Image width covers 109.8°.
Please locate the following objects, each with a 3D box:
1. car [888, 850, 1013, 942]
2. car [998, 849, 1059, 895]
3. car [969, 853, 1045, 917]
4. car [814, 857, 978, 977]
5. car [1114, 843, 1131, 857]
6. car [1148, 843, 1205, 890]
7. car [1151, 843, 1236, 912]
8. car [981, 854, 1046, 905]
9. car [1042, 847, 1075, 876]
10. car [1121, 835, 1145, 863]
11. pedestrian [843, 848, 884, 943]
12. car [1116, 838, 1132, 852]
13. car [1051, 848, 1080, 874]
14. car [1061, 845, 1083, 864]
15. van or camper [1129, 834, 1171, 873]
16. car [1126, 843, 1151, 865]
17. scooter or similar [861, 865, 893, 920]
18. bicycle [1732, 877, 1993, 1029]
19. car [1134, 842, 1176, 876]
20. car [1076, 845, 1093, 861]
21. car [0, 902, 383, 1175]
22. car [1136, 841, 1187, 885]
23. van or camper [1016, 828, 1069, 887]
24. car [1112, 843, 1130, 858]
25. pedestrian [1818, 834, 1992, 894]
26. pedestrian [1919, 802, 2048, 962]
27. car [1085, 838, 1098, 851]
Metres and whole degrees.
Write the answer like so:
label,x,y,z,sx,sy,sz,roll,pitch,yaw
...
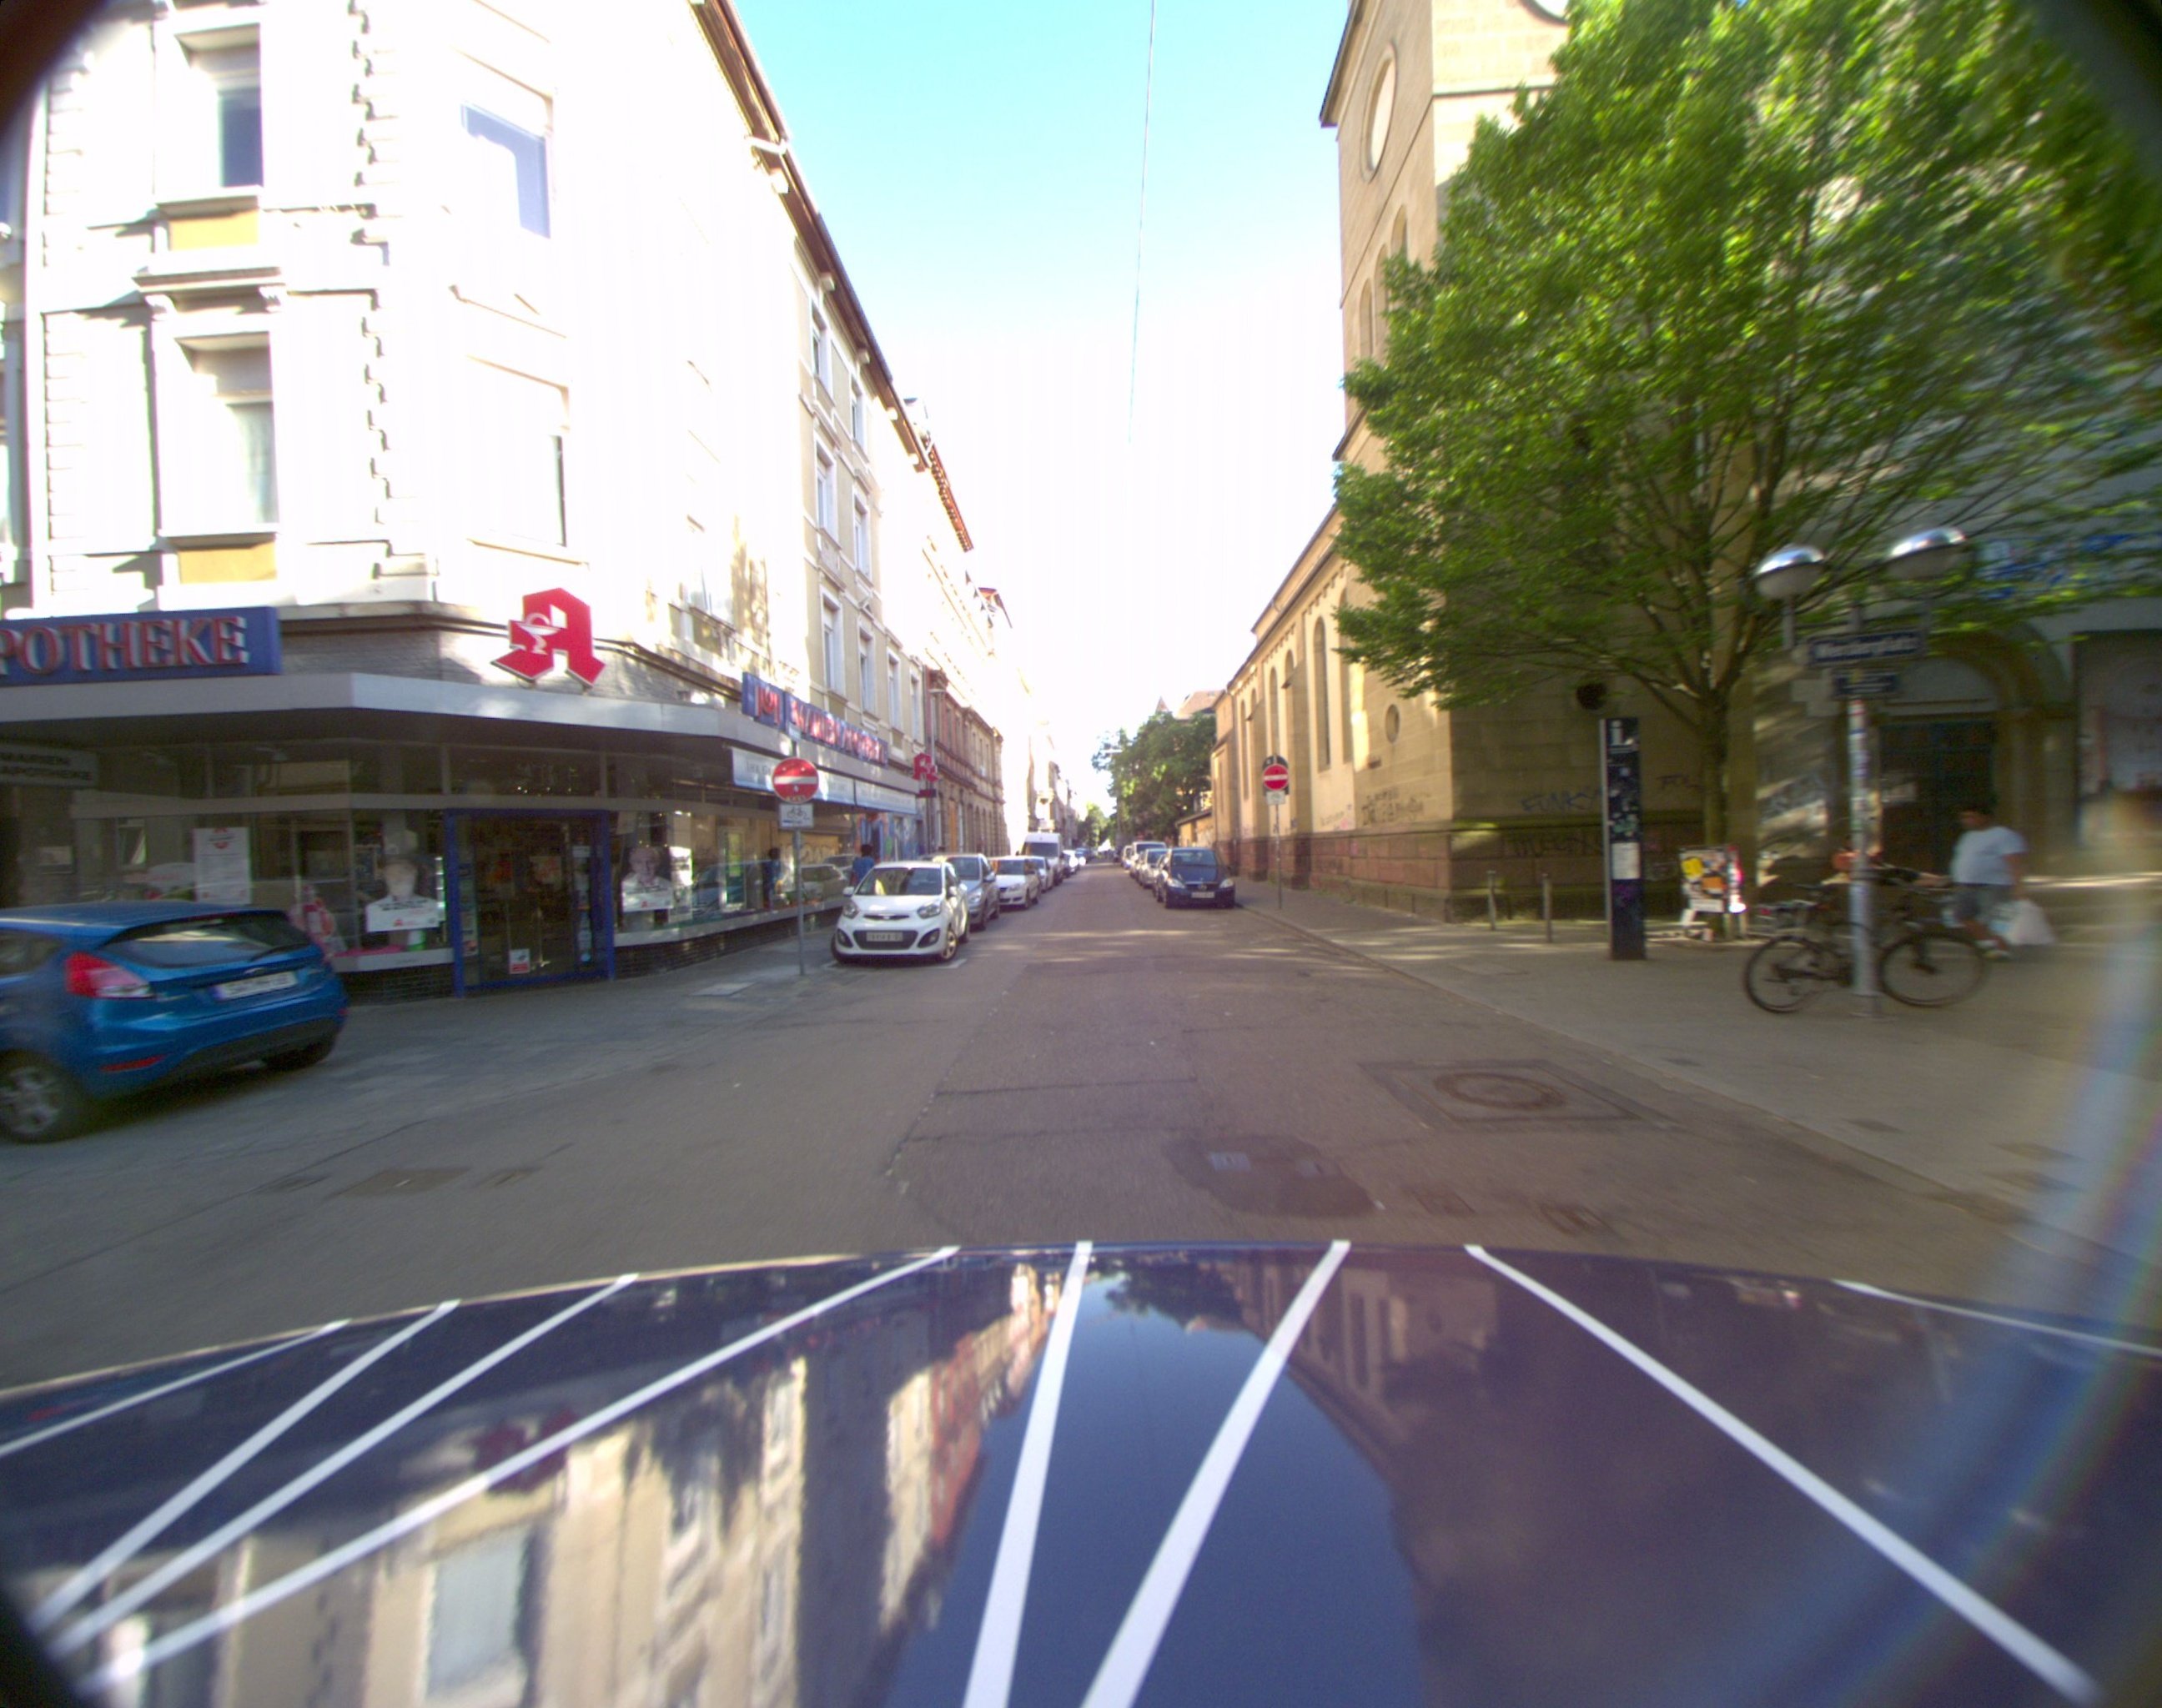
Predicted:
label,x,y,z,sx,sy,sz,roll,pitch,yaw
car,-2.765,0.815,17.170,1.803,1.641,4.486,-3,1,2
car,-2.149,0.709,32.222,1.998,1.637,4.563,-3,1,2
car,-2.067,0.820,22.213,1.558,1.518,4.200,-3,1,2
car,-2.763,0.864,12.162,1.693,1.454,3.639,-3,1,-1
car,5.010,-0.465,91.973,1.777,1.614,4.022,-3,1,1
car,3.175,0.355,25.942,1.576,1.356,4.146,-3,1,3
car,2.929,0.555,20.562,1.798,1.543,3.833,-3,1,2
car,-2.305,0.846,26.919,1.590,1.478,3.912,-3,1,4
car,-1.338,0.453,47.031,1.696,1.615,3.813,-3,1,2
car,4.323,-0.443,63.341,1.777,2.128,4.022,-3,1,2
pedestrian,-4.470,0.841,15.669,0.563,1.883,0.530,-3,2,1
car,5.539,-1.142,97.749,1.777,1.614,4.022,-3,1,1
car,-1.051,0.474,52.386,1.696,1.615,3.963,-3,1,2
car,-0.785,0.039,68.583,1.696,1.615,3.963,-3,1,2
van or camper,3.742,-0.041,41.737,1.984,1.940,4.563,-3,1,2
car,4.353,-0.009,57.932,1.696,1.529,3.813,-3,1,2
scooter or similar,-5.005,0.926,18.647,0.396,1.272,1.036,-3,2,2
bicycle,6.174,0.769,6.029,1.694,1.059,0.346,-3,2,0
car,3.449,0.212,36.074,1.696,1.472,3.736,-3,1,2
car,0.399,-0.164,83.425,1.696,1.615,3.963,-3,1,2
car,-7.675,1.224,5.487,3.582,1.477,1.789,-2,1,2
car,3.208,0.320,30.880,1.724,1.558,4.000,-3,1,3
van or camper,-1.827,0.082,38.065,1.998,2.617,5.978,-3,1,2
car,4.587,-0.391,87.380,1.777,1.614,4.022,-3,1,1
pedestrian,11.693,0.115,10.855,0.959,0.756,1.406,-3,1,2
pedestrian,9.455,0.275,7.987,0.480,1.584,0.714,-3,2,-1
car,1.457,-1.258,103.547,1.696,1.705,3.963,-2,1,2
